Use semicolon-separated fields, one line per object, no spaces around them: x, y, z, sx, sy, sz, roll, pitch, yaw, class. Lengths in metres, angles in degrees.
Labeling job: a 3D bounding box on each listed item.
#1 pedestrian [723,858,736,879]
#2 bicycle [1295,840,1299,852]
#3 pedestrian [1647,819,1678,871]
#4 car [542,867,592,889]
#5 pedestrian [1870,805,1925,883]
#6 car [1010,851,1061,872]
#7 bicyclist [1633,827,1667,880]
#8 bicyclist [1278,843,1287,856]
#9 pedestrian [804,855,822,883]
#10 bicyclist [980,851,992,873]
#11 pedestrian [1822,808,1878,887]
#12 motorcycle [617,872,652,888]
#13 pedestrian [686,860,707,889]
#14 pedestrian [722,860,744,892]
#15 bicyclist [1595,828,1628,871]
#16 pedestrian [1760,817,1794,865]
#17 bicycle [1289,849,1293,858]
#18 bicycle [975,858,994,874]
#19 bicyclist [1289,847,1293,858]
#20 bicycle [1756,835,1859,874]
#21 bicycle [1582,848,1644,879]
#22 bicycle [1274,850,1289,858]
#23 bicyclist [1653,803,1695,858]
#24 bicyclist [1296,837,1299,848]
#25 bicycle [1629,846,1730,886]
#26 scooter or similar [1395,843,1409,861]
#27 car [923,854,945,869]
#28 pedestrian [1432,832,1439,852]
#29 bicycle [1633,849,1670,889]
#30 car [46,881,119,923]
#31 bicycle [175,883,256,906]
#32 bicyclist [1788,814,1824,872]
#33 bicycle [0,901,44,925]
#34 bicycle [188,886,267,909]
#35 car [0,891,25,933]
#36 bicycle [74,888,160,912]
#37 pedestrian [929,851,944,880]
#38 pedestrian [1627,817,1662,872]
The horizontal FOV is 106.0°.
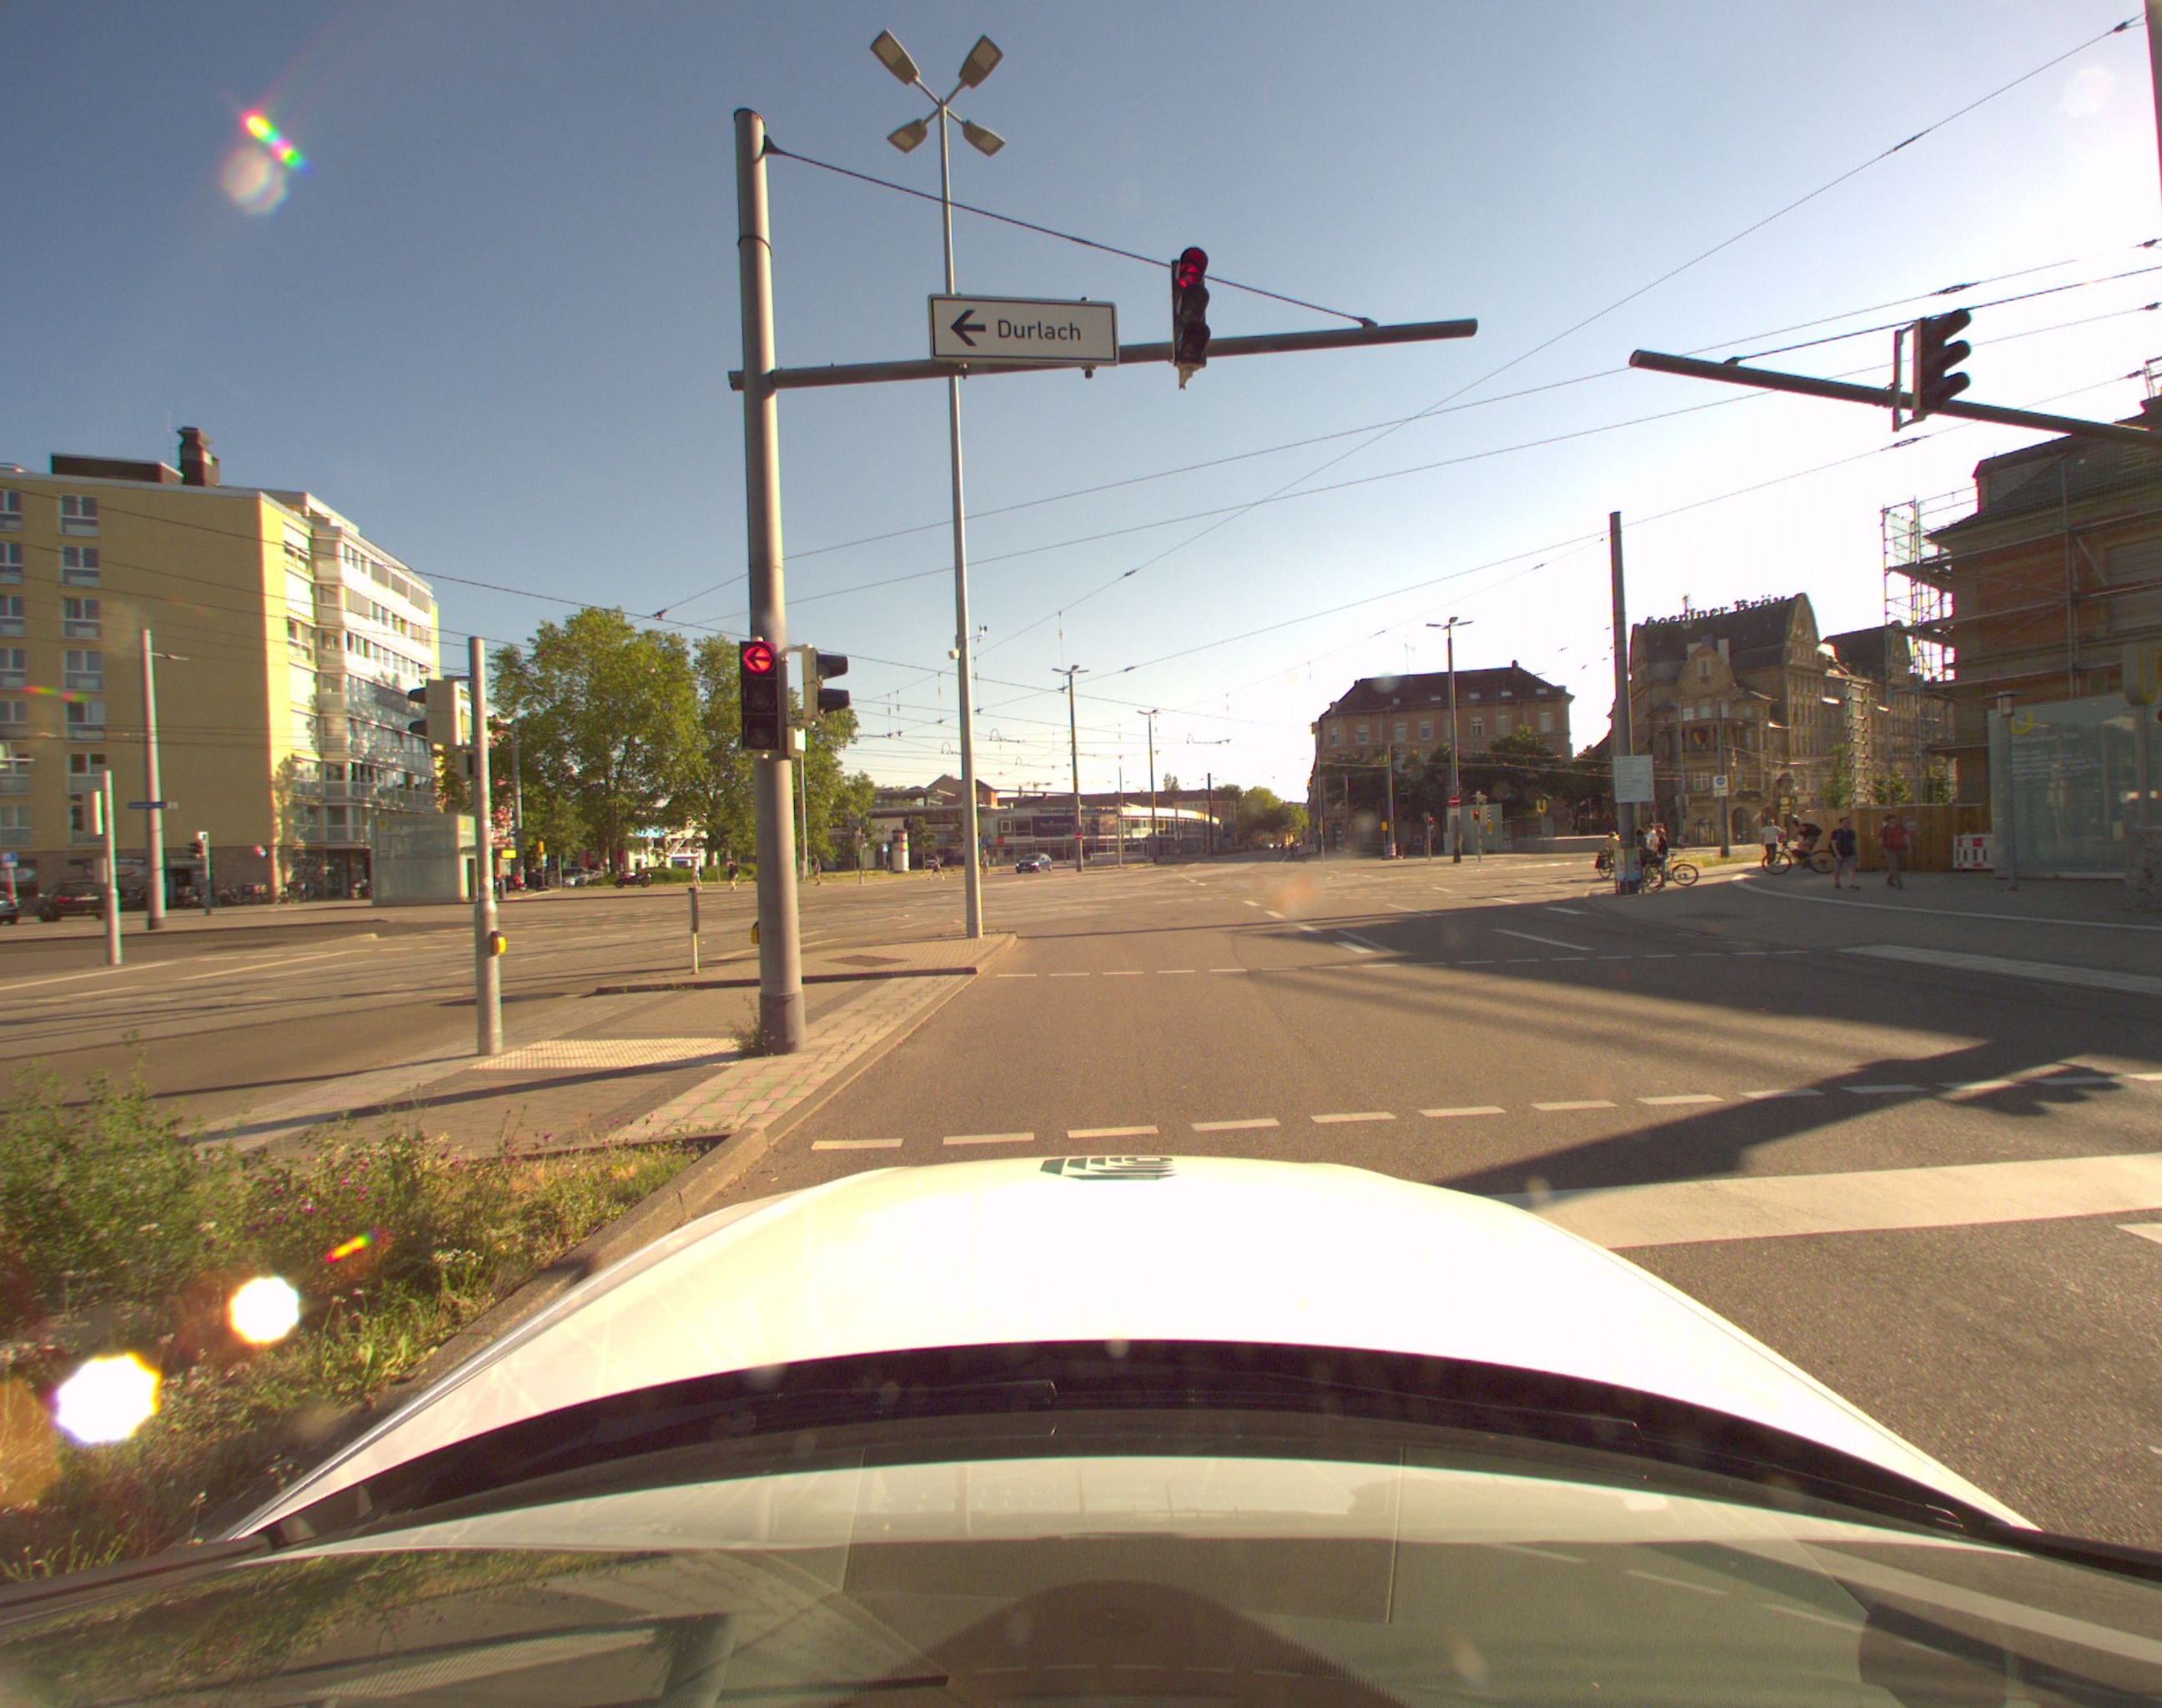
-27.996;1.131;64.873;0.854;1.694;0.497;0;-1;-1;pedestrian
37.553;-1.439;141.451;0.613;2.014;2.410;-1;-1;16;bicycle
21.787;-0.347;30.533;0.646;1.922;0.689;0;-1;-6;pedestrian
-37.316;1.717;59.225;1.772;1.567;3.983;0;-1;-12;car
19.212;-0.227;19.166;0.672;1.807;0.680;0;-1;-19;pedestrian
-3.429;0.564;61.972;1.975;1.585;4.024;-1;-1;29;car
15.867;-0.005;22.723;0.701;1.439;0.953;-1;-1;30;bicyclist
24.183;-0.546;97.759;0.778;1.577;0.752;0;-1;-44;bicyclist
-16.523;0.918;50.139;0.790;1.706;0.760;-1;-1;9;pedestrian
-7.030;0.574;60.157;0.593;1.615;0.826;-1;-1;19;bicyclist
18.291;-0.153;19.370;0.672;1.807;0.680;-3;0;-19;pedestrian
-27.272;1.575;49.744;1.779;0.914;0.675;0;-1;-19;motorcycle
-22.445;1.205;47.567;0.790;1.706;0.760;-1;-1;9;pedestrian
-19.027;1.190;44.521;0.790;1.706;0.760;-1;-1;9;pedestrian
19.140;-0.159;29.403;0.514;1.557;0.945;0;-1;-6;bicyclist
26.441;-0.477;30.940;0.646;1.814;0.689;0;-1;-6;pedestrian
20.532;-0.044;79.518;0.407;0.941;1.852;-1;-1;15;bicycle
-7.101;0.894;59.958;0.607;1.189;1.878;-1;-1;19;bicycle
20.541;-0.130;79.610;0.405;1.116;0.400;-1;-1;13;bicyclist
22.577;0.034;25.371;2.290;1.049;0.539;-5;-1;36;bicycle
19.146;0.336;29.391;0.533;1.049;2.315;0;1;-6;bicycle
24.109;-0.019;97.844;0.663;0.952;1.580;0;-1;-45;bicycle
17.242;-0.658;23.691;0.935;1.557;0.715;-1;-1;32;bicyclist
37.561;-1.959;141.381;0.595;1.809;0.830;-1;-1;15;bicyclist
17.314;0.365;23.640;2.290;1.049;0.705;-3;-2;32;bicycle
24.762;-0.174;62.826;0.780;1.376;1.916;-1;-1;16;scooter or similar
-18.026;0.879;99.943;1.988;1.750;3.997;0;-1;-2;car
36.972;-1.251;84.961;0.598;2.013;0.649;-2;0;16;pedestrian
15.879;0.392;22.707;0.692;1.049;2.335;0;1;31;bicycle
-44.221;2.069;36.035;3.948;1.706;1.730;-1;-1;35;car
-46.266;2.178;43.564;3.041;1.151;0.637;0;-1;-16;bicycle
22.583;-0.333;25.376;0.785;1.779;0.526;-1;-1;37;bicyclist
-54.472;2.961;40.951;3.041;1.151;0.637;0;-1;-16;bicycle
-46.341;2.366;44.233;3.041;1.151;0.637;0;-1;-16;bicycle
-46.997;2.481;34.851;3.948;1.706;2.013;-1;-1;35;car
-50.286;2.385;42.502;3.041;1.151;0.637;0;-1;-16;bicycle
-9.566;0.763;53.898;0.790;1.886;0.760;-1;-1;9;pedestrian
21.063;-0.353;30.456;0.730;2.014;0.760;0;-1;-6;pedestrian
